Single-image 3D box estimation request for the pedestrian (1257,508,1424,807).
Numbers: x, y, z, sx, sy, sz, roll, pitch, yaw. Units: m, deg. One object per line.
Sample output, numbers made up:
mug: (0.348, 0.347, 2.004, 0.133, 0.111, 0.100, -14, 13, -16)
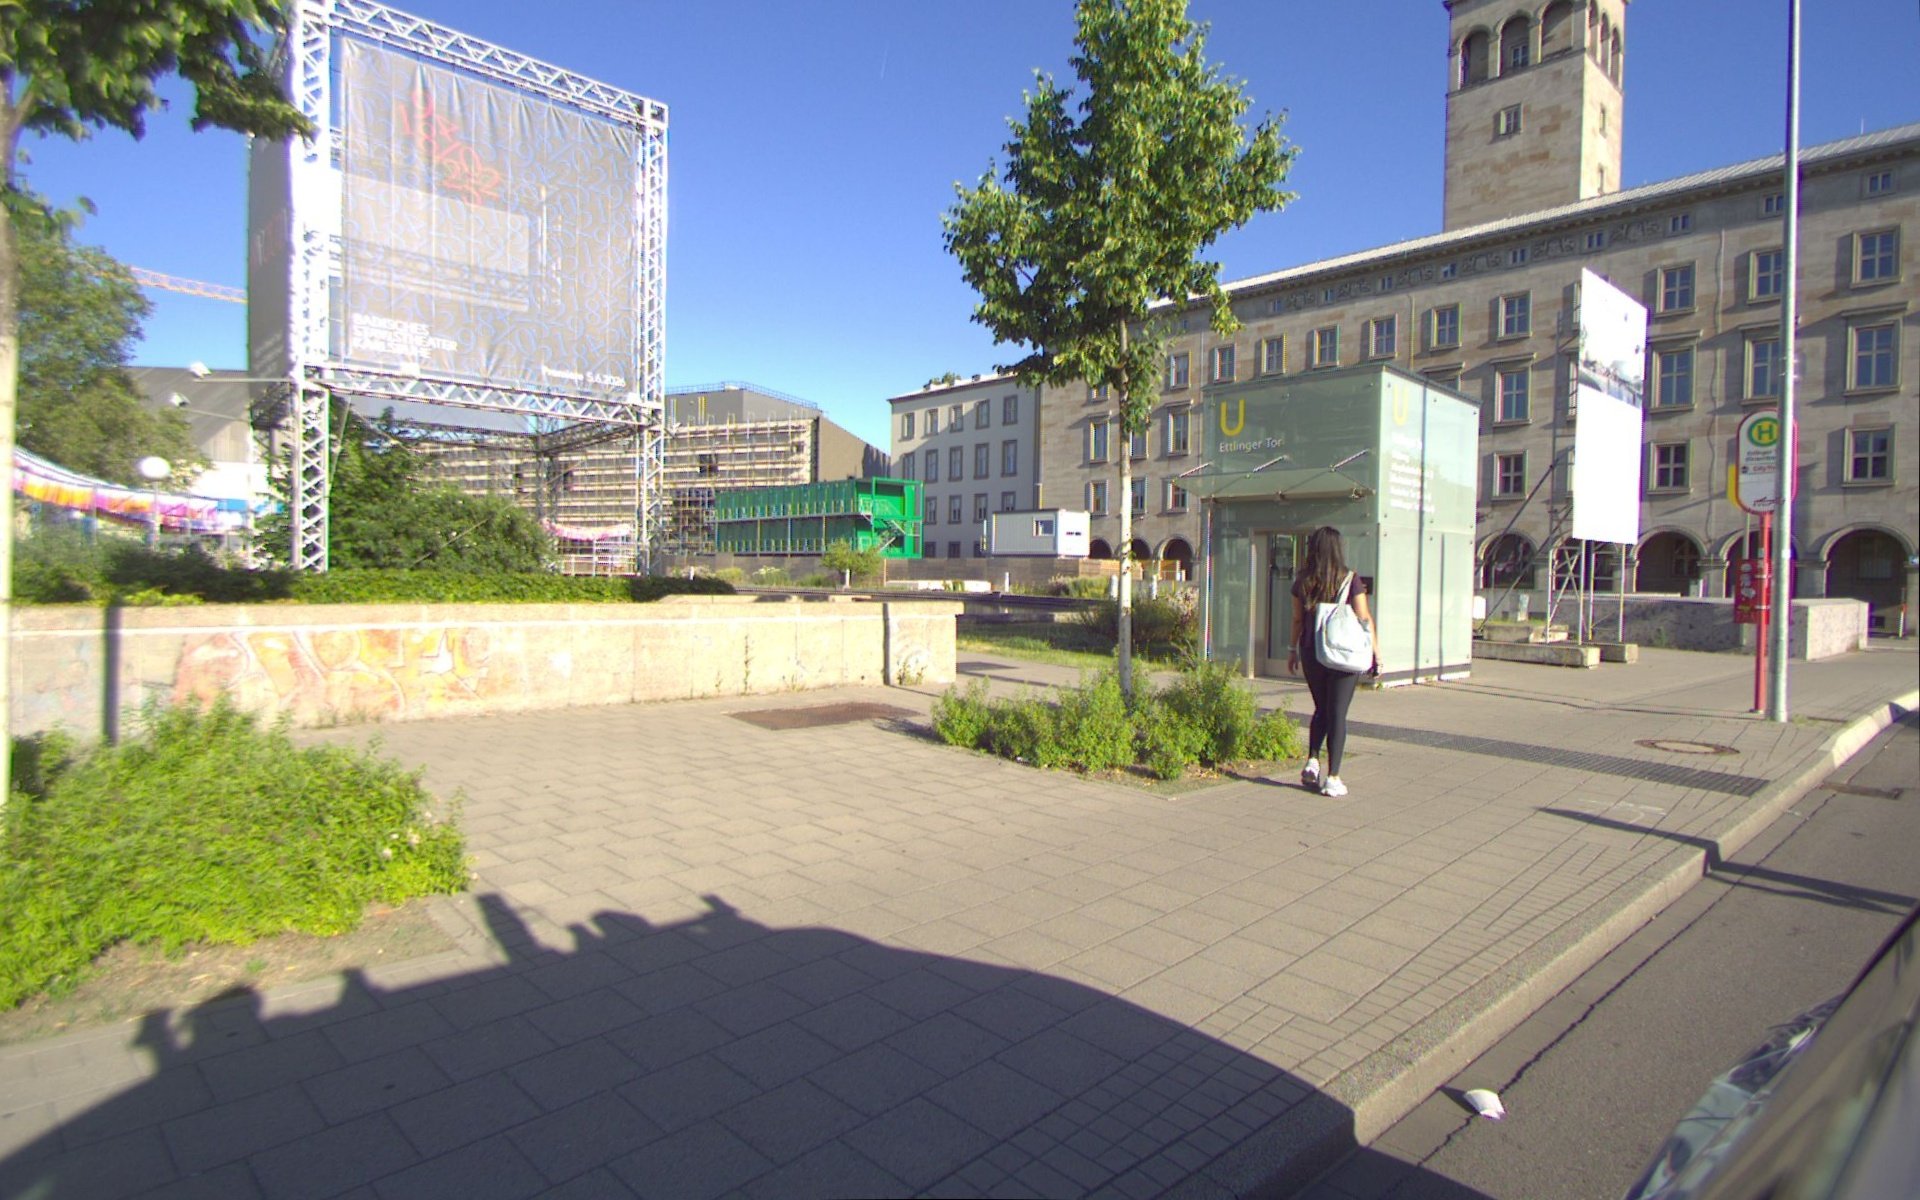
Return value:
pedestrian: (2.494, 0.327, 6.779, 0.930, 1.809, 1.067, 1, 1, 17)
